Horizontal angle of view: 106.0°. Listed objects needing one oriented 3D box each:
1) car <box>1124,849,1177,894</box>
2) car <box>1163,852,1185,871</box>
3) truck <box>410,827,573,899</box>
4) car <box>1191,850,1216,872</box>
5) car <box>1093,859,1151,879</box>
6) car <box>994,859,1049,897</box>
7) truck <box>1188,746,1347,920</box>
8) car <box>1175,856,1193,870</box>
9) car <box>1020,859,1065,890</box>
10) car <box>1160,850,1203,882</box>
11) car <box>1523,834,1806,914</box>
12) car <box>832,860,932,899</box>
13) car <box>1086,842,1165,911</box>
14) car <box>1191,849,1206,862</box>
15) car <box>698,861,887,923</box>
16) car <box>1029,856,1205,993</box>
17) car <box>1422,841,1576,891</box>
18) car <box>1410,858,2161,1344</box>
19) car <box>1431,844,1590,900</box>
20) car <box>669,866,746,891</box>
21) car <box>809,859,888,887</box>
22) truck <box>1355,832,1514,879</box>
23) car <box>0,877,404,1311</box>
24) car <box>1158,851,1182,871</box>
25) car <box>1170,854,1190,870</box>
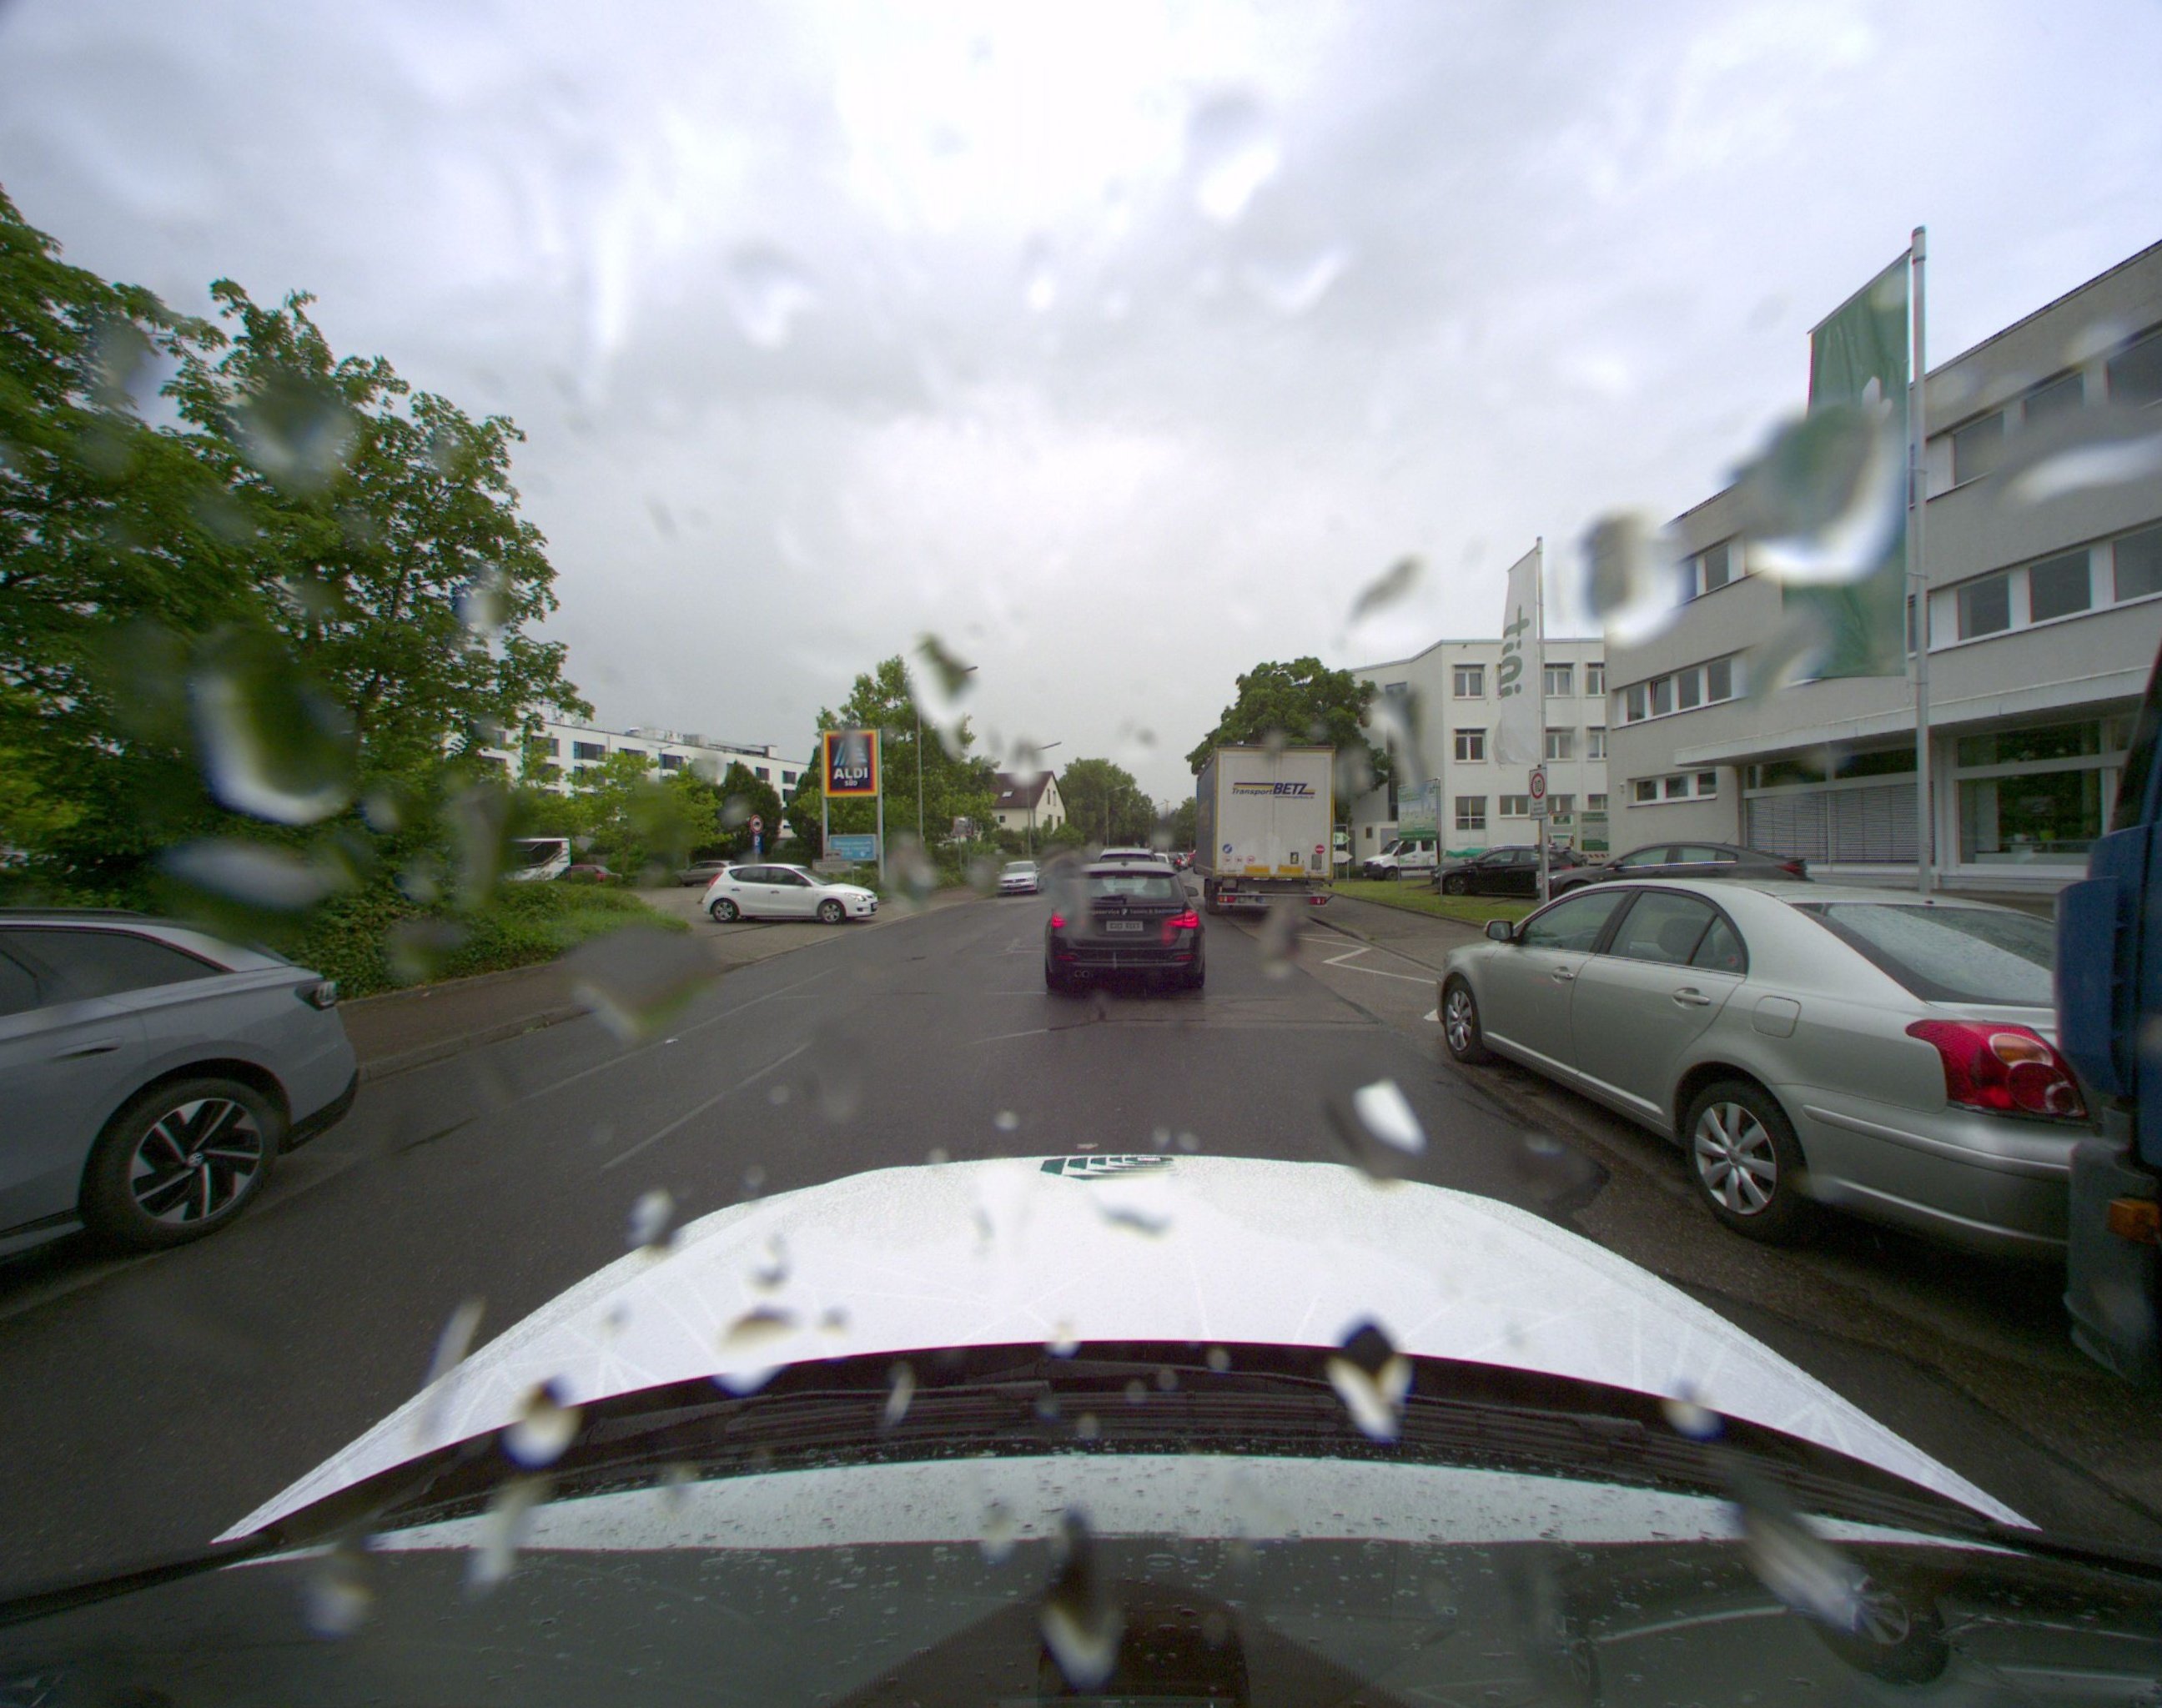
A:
[{"bbox_3d":[2.711,0.640,31.022,1.794,1.586,4.008,-1,-1,7],"label":"car"},{"bbox_3d":[8.400,0.678,73.503,1.793,1.586,4.010,-1,-1,9],"label":"car"},{"bbox_3d":[-24.050,0.340,33.667,1.986,2.657,6.398,-1,0,1],"label":"truck"},{"bbox_3d":[9.186,0.517,61.157,1.794,1.586,4.008,-1,-1,7],"label":"car"},{"bbox_3d":[2.966,1.094,59.396,4.170,1.362,1.590,-1,0,2],"label":"car"},{"bbox_3d":[-2.516,0.989,35.321,1.698,1.367,4.605,-4,0,3],"label":"car"},{"bbox_3d":[4.413,-0.442,20.939,2.729,3.611,7.757,1,0,4],"label":"truck"},{"bbox_3d":[11.564,1.001,91.115,1.793,1.586,4.010,-1,-1,9],"label":"car"},{"bbox_3d":[-1.885,0.996,41.269,1.697,1.367,3.843,-4,0,5],"label":"car"},{"bbox_3d":[5.673,0.679,46.400,1.987,1.684,4.000,0,-1,1],"label":"car"},{"bbox_3d":[12.078,0.402,17.113,4.616,1.468,1.803,-2,0,39],"label":"car"},{"bbox_3d":[-8.046,1.015,33.066,3.555,1.460,1.714,0,0,3],"label":"car"},{"bbox_3d":[1.045,0.543,21.029,1.799,1.586,3.999,0,-1,0],"label":"car"},{"bbox_3d":[14.731,0.157,101.902,1.793,1.586,4.010,-1,0,9],"label":"car"},{"bbox_3d":[-7.249,0.935,20.766,4.178,1.460,1.711,0,0,-2],"label":"car"},{"bbox_3d":[0.368,0.743,10.381,1.799,1.395,3.999,0,-1,0],"label":"car"},{"bbox_3d":[13.298,0.331,26.034,4.098,1.415,1.701,1,3,42],"label":"car"},{"bbox_3d":[3.636,0.772,4.688,1.791,1.441,4.346,-1,0,1],"label":"car"},{"bbox_3d":[12.401,0.459,23.630,3.733,1.396,1.738,2,2,41],"label":"car"},{"bbox_3d":[-23.743,1.543,51.854,3.970,1.499,2.002,-1,0,3],"label":"car"},{"bbox_3d":[-13.373,1.079,47.005,3.971,1.540,1.912,-1,0,2],"label":"car"},{"bbox_3d":[17.324,0.081,40.159,6.895,2.140,2.096,-1,0,2],"label":"truck"},{"bbox_3d":[-4.858,0.956,2.274,1.803,1.528,4.748,-5,0,1],"label":"car"},{"bbox_3d":[7.370,0.606,67.153,1.793,1.586,4.010,-1,-1,9],"label":"car"},{"bbox_3d":[10.095,0.777,82.580,1.793,1.586,4.010,-1,-1,9],"label":"car"}]
